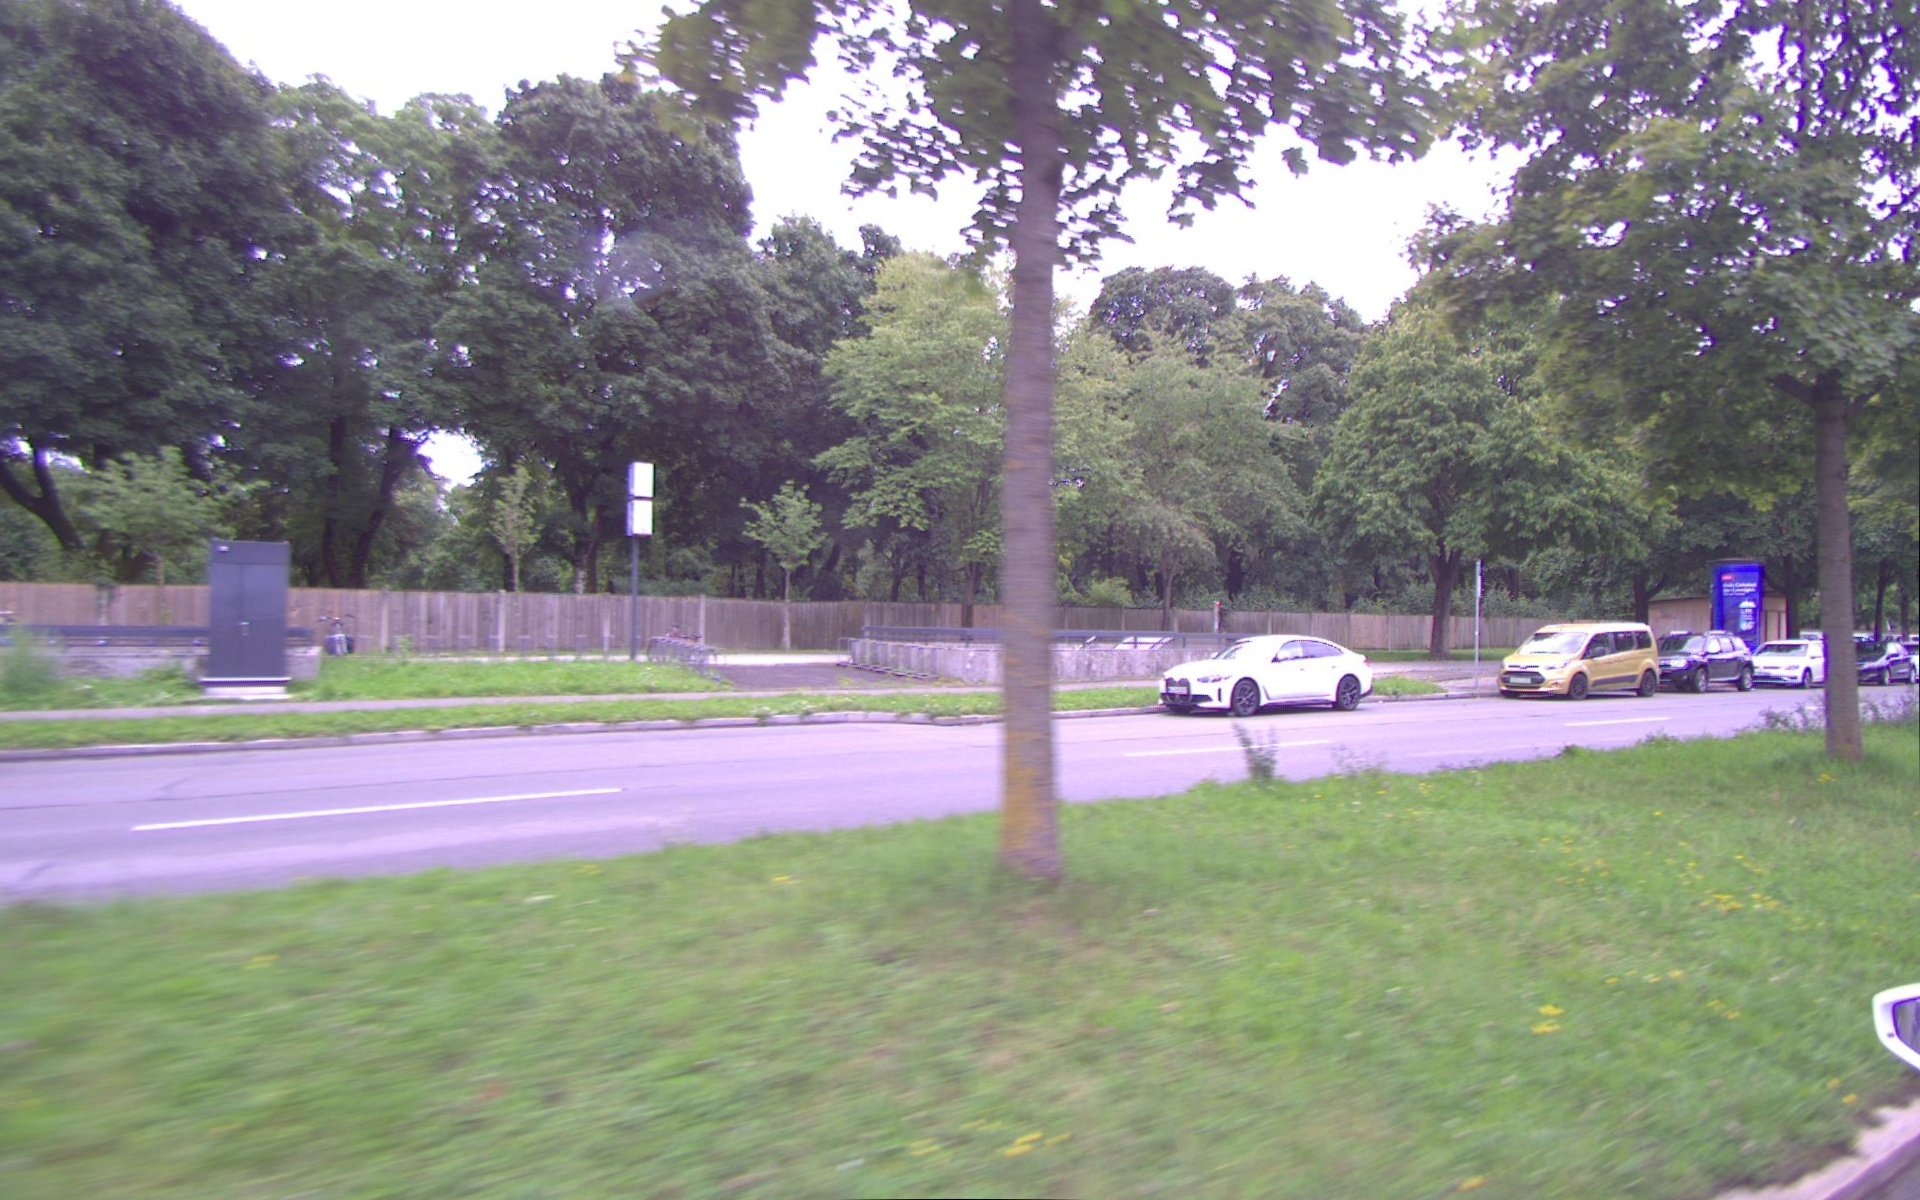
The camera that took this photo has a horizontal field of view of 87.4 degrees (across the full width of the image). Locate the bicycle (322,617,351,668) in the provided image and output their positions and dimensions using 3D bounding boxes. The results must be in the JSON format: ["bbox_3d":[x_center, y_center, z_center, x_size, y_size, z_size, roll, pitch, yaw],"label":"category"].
[{"bbox_3d":[-12.581,0.846,20.289,0.427,0.942,1.811,1,0,-30],"label":"bicycle"}]

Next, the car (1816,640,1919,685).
[{"bbox_3d":[30.472,2.060,33.706,3.855,1.436,1.604,1,-2,-32],"label":"car"}]

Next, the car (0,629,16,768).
[{"bbox_3d":[-11.686,0.971,8.983,4.378,1.444,1.792,1,-2,-30],"label":"car"}]

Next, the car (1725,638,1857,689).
[{"bbox_3d":[25.874,1.925,31.262,4.480,1.469,1.754,1,-2,-31],"label":"car"}]

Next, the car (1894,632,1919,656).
[{"bbox_3d":[70.487,3.238,72.736,1.656,1.740,3.893,2,0,-34],"label":"car"}]

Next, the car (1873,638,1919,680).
[{"bbox_3d":[35.418,2.134,36.860,4.228,1.463,1.600,1,-2,-30],"label":"car"}]

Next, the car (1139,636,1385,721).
[{"bbox_3d":[5.950,1.449,19.623,4.818,1.492,1.848,1,-2,-31],"label":"car"}]

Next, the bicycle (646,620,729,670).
[{"bbox_3d":[-6.300,1.030,23.263,1.803,1.115,0.429,1,0,-30],"label":"bicycle"}]

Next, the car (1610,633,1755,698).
[{"bbox_3d":[20.059,1.764,27.866,4.206,1.667,1.728,1,-2,-31],"label":"car"}]

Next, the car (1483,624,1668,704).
[{"bbox_3d":[15.201,1.530,24.758,4.759,1.806,1.807,1,-2,-29],"label":"car"}]
